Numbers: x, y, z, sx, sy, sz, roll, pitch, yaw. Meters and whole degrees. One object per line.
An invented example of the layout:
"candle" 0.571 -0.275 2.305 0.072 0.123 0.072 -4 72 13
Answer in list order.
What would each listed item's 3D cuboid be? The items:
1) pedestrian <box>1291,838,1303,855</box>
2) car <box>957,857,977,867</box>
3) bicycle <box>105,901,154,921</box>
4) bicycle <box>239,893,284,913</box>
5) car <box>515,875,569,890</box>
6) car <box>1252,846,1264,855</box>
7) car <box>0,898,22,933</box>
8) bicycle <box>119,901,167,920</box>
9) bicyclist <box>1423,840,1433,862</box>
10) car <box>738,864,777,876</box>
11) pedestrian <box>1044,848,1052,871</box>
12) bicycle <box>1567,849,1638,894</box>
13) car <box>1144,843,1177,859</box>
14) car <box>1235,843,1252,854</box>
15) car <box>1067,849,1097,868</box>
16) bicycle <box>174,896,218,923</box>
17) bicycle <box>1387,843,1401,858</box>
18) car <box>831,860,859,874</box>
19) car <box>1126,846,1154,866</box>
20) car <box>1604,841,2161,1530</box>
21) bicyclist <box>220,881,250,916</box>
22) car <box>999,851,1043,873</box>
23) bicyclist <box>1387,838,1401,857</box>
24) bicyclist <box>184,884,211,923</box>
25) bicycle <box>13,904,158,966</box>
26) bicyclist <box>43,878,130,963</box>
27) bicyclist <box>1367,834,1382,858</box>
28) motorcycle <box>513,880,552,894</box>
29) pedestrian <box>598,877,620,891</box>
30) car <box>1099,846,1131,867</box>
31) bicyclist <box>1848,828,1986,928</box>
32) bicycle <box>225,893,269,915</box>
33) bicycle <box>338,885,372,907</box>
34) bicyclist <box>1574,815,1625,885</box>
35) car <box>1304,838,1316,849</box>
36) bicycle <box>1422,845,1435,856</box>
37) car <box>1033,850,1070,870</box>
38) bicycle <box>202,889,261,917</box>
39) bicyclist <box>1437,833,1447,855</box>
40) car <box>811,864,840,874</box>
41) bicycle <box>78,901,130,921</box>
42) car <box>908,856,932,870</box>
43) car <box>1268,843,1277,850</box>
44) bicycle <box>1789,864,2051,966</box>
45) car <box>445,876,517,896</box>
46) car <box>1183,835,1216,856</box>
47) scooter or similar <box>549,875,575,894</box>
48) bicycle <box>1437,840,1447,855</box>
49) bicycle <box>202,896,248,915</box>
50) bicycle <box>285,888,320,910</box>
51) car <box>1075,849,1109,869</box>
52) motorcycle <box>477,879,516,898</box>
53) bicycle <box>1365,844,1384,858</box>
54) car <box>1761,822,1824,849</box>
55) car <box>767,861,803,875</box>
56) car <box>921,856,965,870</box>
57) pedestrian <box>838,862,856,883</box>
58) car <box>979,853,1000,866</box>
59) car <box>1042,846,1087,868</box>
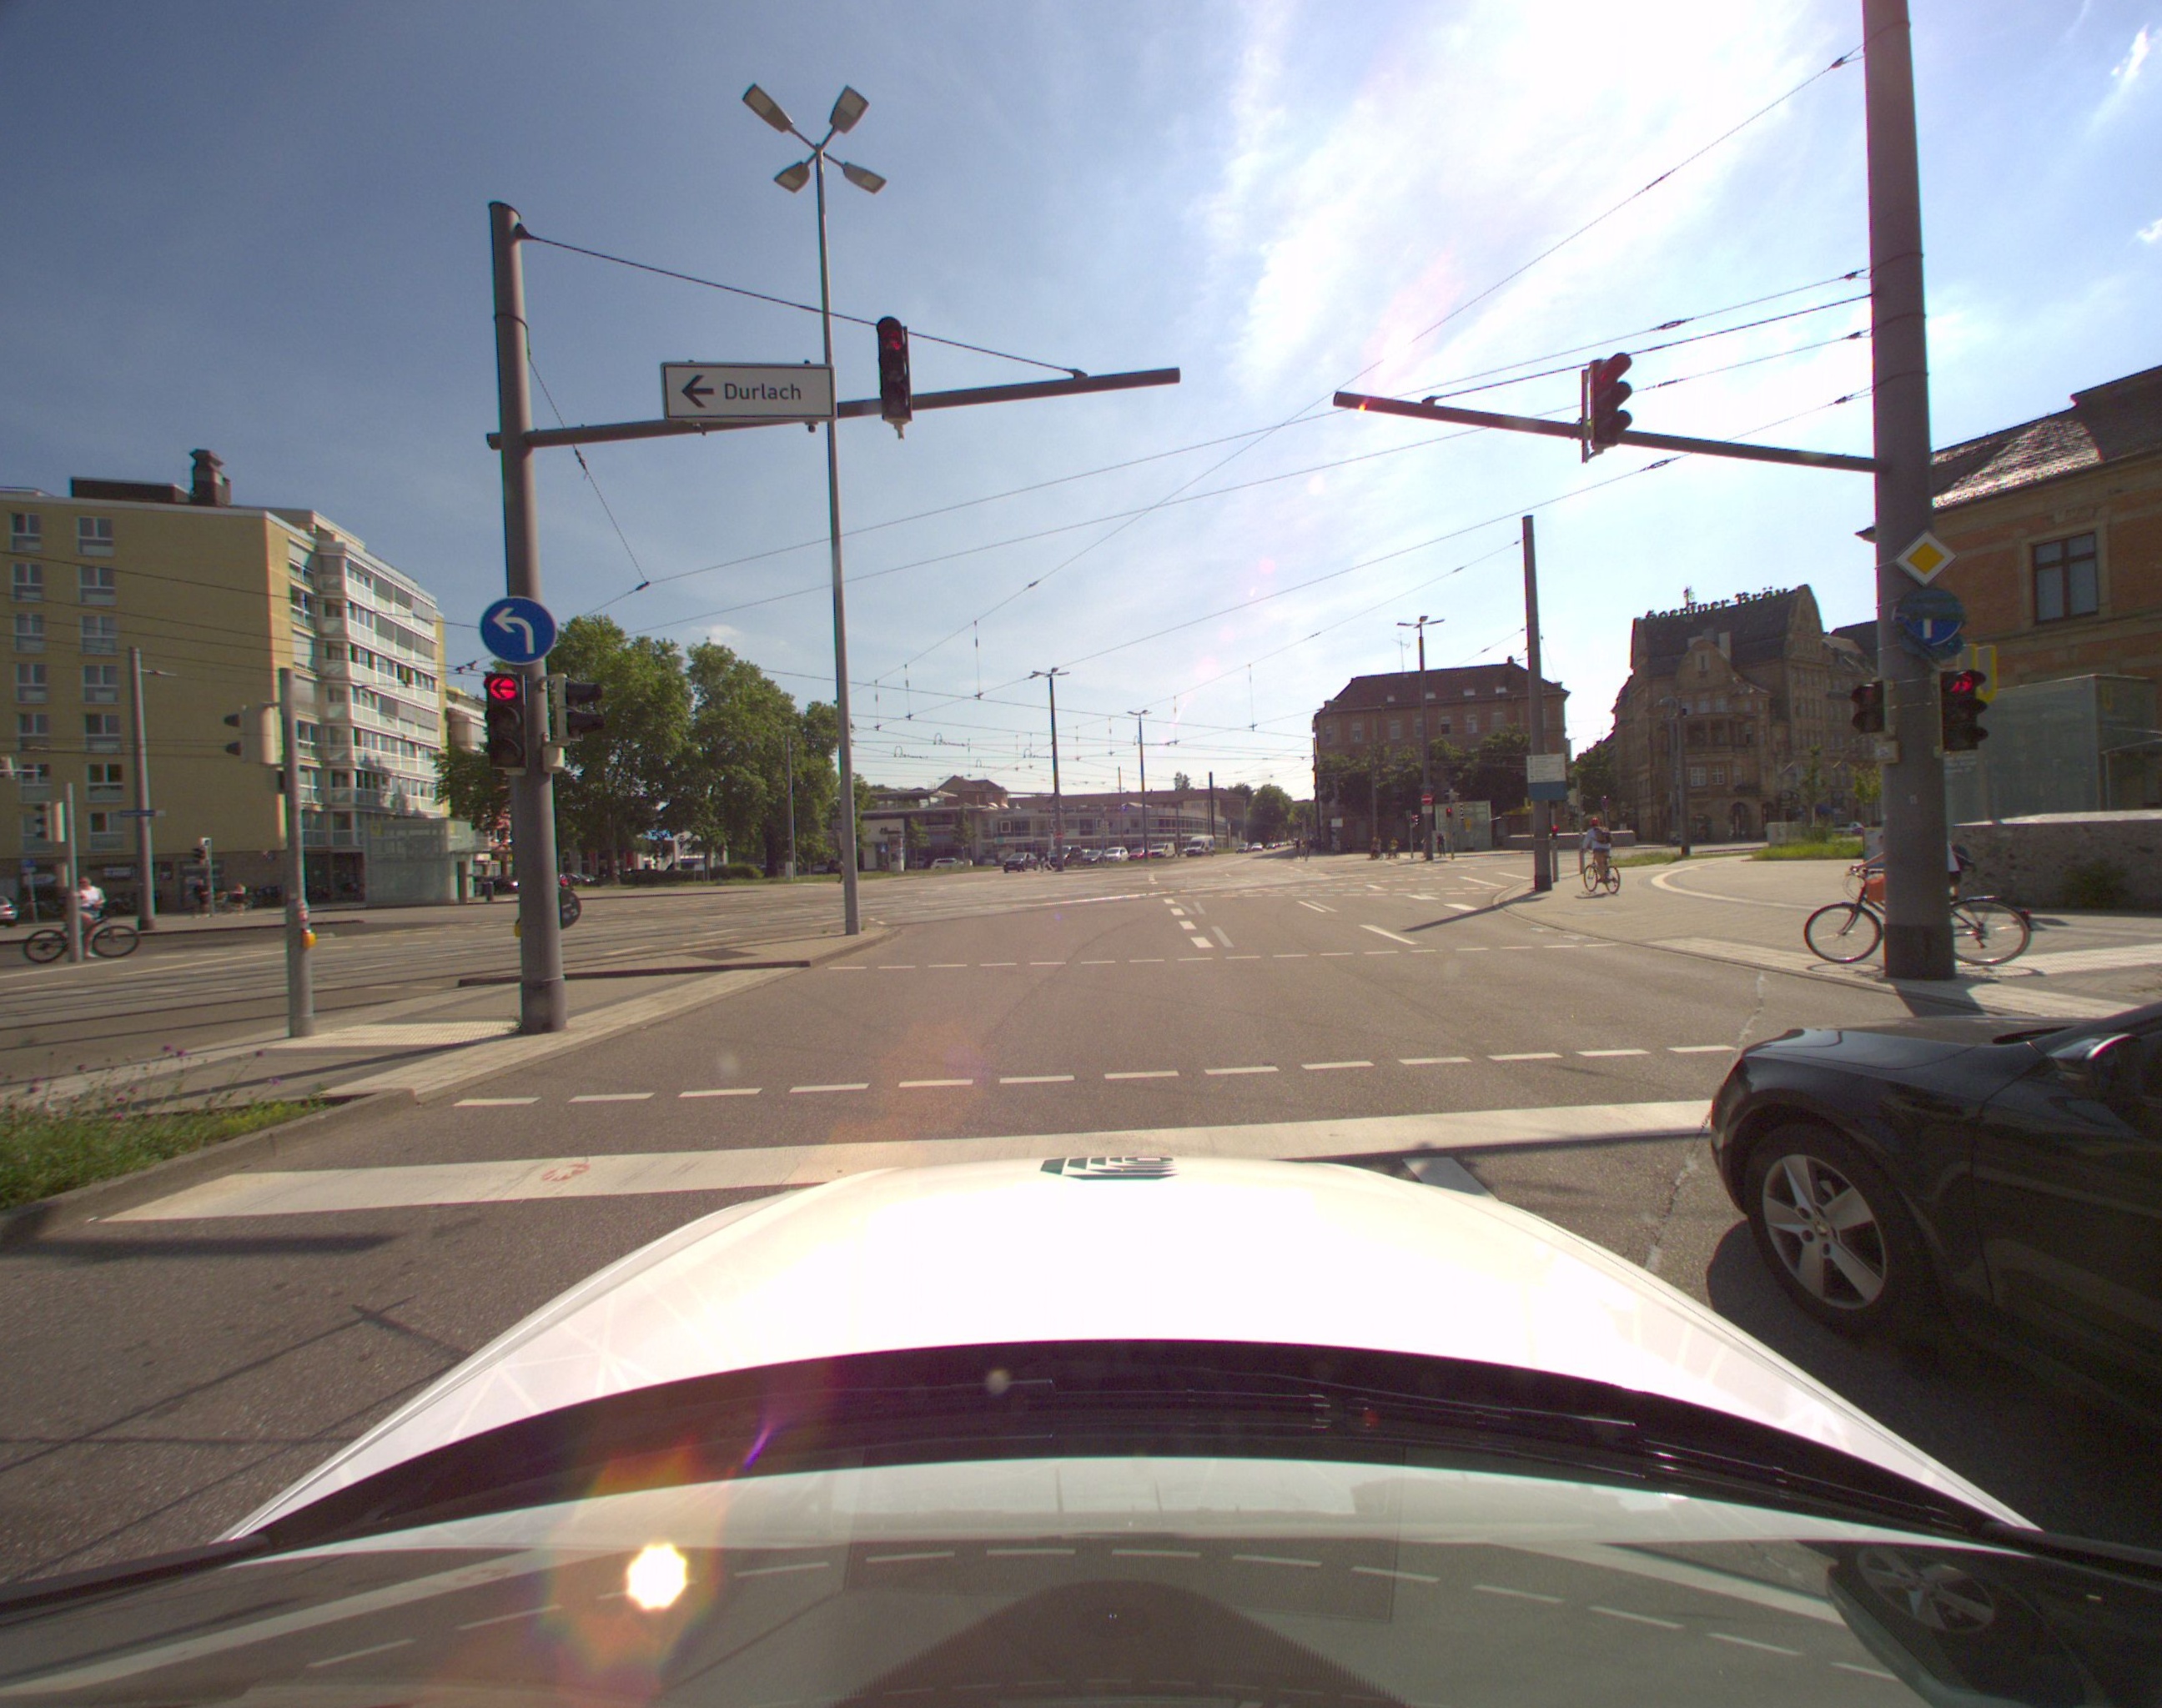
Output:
"pedestrian" 18.675 -0.627 70.422 0.616 1.433 0.705 0 -1 -36
"car" -14.038 0.939 100.587 1.824 1.195 4.000 0 0 1
"bicycle" -52.033 3.107 44.552 1.750 0.916 0.582 -3 1 -8
"bicycle" -46.778 2.790 46.494 1.750 1.043 0.582 -3 1 -9
"car" -49.658 2.630 75.086 3.729 1.340 1.735 0 -1 -15
"car" 30.649 -0.568 140.932 1.372 1.625 3.357 -1 -1 21
"car" -49.241 2.830 36.604 3.948 1.440 1.825 -5 -2 35
"bicycle" -51.955 3.111 45.116 1.750 0.916 0.582 -3 1 -8
"bicyclist" 26.257 -0.237 61.631 0.497 1.621 0.651 0 0 7
"car" -40.913 2.006 103.047 3.972 1.371 2.000 0 0 1
"pedestrian" -2.290 0.376 56.424 0.456 1.605 0.396 0 -1 -34
"bicycle" 13.097 0.415 20.521 0.710 1.015 2.026 -5 0 10
"car" 9.180 -0.368 93.672 2.165 1.680 5.058 -3 0 24
"car" 24.751 -0.786 123.996 1.371 1.656 3.783 -1 -1 30
"car" 0.130 0.433 78.368 1.638 1.739 4.220 -3 -1 19
"bicycle" -40.904 2.569 37.662 0.584 1.130 1.784 -3 -1 -21
"bicycle" 23.475 -0.289 61.040 0.918 1.069 2.856 -1 1 21
"car" -29.569 1.604 102.219 1.983 1.684 4.008 0 -1 7
"car" 6.192 0.205 85.445 1.879 1.917 4.220 -3 -1 19
"car" 3.052 0.675 1.112 1.625 1.435 4.779 -1 0 1
"bicyclist" -39.342 2.057 37.874 0.728 1.572 0.613 -3 -1 2
"car" -4.718 0.642 64.342 1.876 1.588 4.230 -3 -1 19
"bicyclist" 23.476 -0.484 61.054 0.918 1.451 1.258 -1 1 21
"bicyclist" -40.758 2.258 37.593 0.584 1.735 0.613 -3 -1 -22
"bicycle" -20.900 1.690 17.139 1.843 1.083 0.749 -4 0 -9
"bicyclist" -20.900 1.379 17.133 0.774 1.684 0.749 -4 0 -9
"bicyclist" 22.024 -0.587 61.193 0.920 1.820 1.056 -1 -1 11
"motorcycle" -36.827 2.203 54.659 0.632 0.842 2.051 -2 0 36
"pedestrian" -33.126 2.118 57.194 1.175 0.892 0.818 -2 0 -18
"car" 3.327 0.266 78.612 1.879 1.917 4.220 -3 -1 19
"bicyclist" 9.333 0.266 9.138 0.904 1.029 0.721 -5 -1 35
"bicycle" -46.926 2.798 45.831 1.747 1.085 0.583 -3 3 -4
"bicycle" -44.354 2.540 49.779 0.581 1.219 1.754 -3 1 -5
"bicyclist" 13.048 -0.096 20.518 0.710 1.669 0.877 -5 -1 10
"car" 46.394 -2.148 164.859 2.092 2.013 4.017 -2 0 16
"bicycle" 26.246 -0.267 61.583 0.497 0.866 1.590 0 0 7
"car" -2.529 0.510 71.105 1.879 1.588 4.019 -3 -1 19
"bicycle" -39.352 2.251 37.762 0.749 1.130 1.798 -2 0 3
"bicyclist" 26.955 -0.763 60.749 0.661 1.624 0.787 -1 0 24
"car" -31.930 1.838 101.879 1.983 1.244 4.008 0 0 7
"bicycle" -53.530 3.118 44.625 1.754 0.916 0.581 -3 1 -15
"car" -19.971 1.102 101.149 1.987 1.486 4.000 -2 0 0
"car" 41.279 -1.590 175.533 1.372 1.414 3.028 -1 -1 21
"bicycle" 9.307 0.690 9.166 1.894 1.015 0.721 -5 -1 35
"car" -46.394 2.426 63.060 3.994 1.440 1.881 0 -1 -15
"car" 15.244 -1.025 104.510 2.188 2.575 5.910 -1 -1 28
"scooter or similar" -32.063 1.904 50.305 1.351 1.119 0.519 -2 0 11
"bicycle" 26.913 -0.477 60.642 0.661 1.069 2.478 -1 1 25
"bicycle" -48.383 2.905 46.036 1.751 0.965 0.582 -3 1 -11
"bicycle" -46.253 2.676 48.403 0.540 1.186 1.881 -2 0 -13
"car" 1.029 0.445 71.334 1.880 1.588 4.017 -3 -1 16
"motorcycle" -35.712 2.120 49.747 2.019 1.062 0.642 -2 0 9
"bicycle" 21.991 -0.204 61.040 0.920 1.069 2.755 -1 -1 12
"car" 39.166 -1.029 44.817 3.464 1.313 1.655 -3 0 -32
"car" -38.516 1.845 106.035 3.974 1.552 2.000 -2 0 0
"car" -15.008 0.950 88.650 4.558 1.436 1.448 0 -1 8
"pedestrian" -15.733 1.237 54.835 1.117 1.404 0.652 0 -1 -20
"car" -11.507 0.673 102.229 1.826 1.618 3.973 0 -1 -20
"car" -1.249 0.226 64.872 1.945 1.587 4.739 -2 0 19
